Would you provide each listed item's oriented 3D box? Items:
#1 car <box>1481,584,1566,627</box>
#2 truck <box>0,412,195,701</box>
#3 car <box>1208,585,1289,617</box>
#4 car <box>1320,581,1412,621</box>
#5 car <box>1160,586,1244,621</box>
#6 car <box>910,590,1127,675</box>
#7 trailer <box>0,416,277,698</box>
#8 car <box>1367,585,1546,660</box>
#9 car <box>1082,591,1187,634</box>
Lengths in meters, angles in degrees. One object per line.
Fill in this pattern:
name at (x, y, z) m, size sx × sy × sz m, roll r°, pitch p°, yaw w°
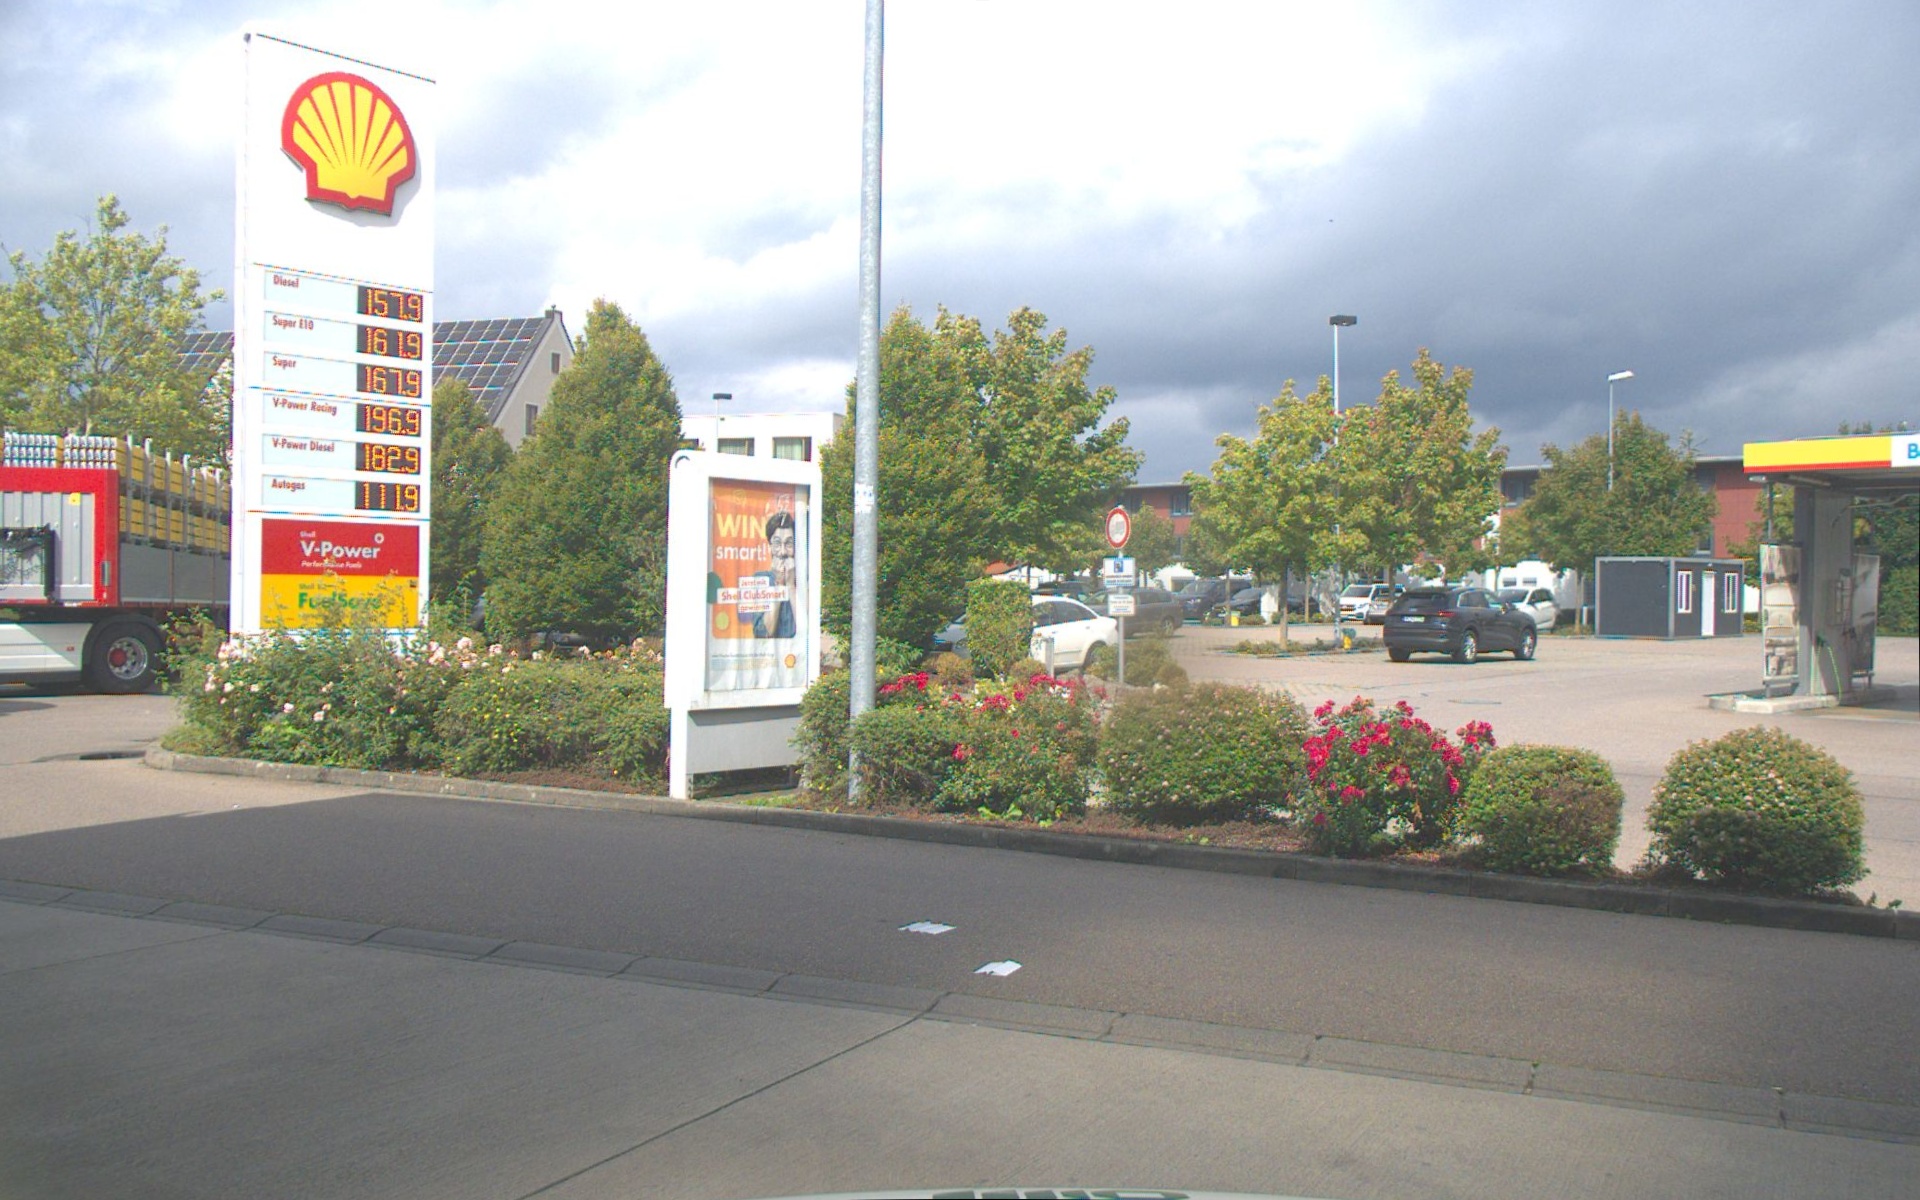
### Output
car at (17.998, 0.181, 52.806) m, size 3.080 × 1.330 × 1.346 m, roll 1°, pitch -1°, yaw -45°
truck at (-14.188, -0.605, 22.955) m, size 2.686 × 3.913 × 5.897 m, roll 1°, pitch 0°, yaw 35°
car at (11.402, 0.053, 65.209) m, size 3.393 × 1.199 × 1.462 m, roll 1°, pitch 0°, yaw -45°
car at (19.903, 0.050, 80.945) m, size 4.839 × 1.865 × 2.150 m, roll 1°, pitch 0°, yaw -44°
car at (9.800, 0.156, 66.931) m, size 3.364 × 1.343 × 1.719 m, roll 1°, pitch 0°, yaw -45°
car at (1.125, 0.584, 29.934) m, size 1.348 × 1.428 × 4.312 m, roll 1°, pitch -1°, yaw 45°
trailer at (-14.412, -0.582, 28.750) m, size 2.684 × 3.842 × 12.667 m, roll 1°, pitch 0°, yaw -14°
car at (11.122, 0.495, 36.892) m, size 4.467 × 1.575 × 1.856 m, roll 1°, pitch 0°, yaw -44°
car at (5.269, 0.377, 49.791) m, size 3.203 × 1.249 × 1.481 m, roll 1°, pitch 0°, yaw -45°
